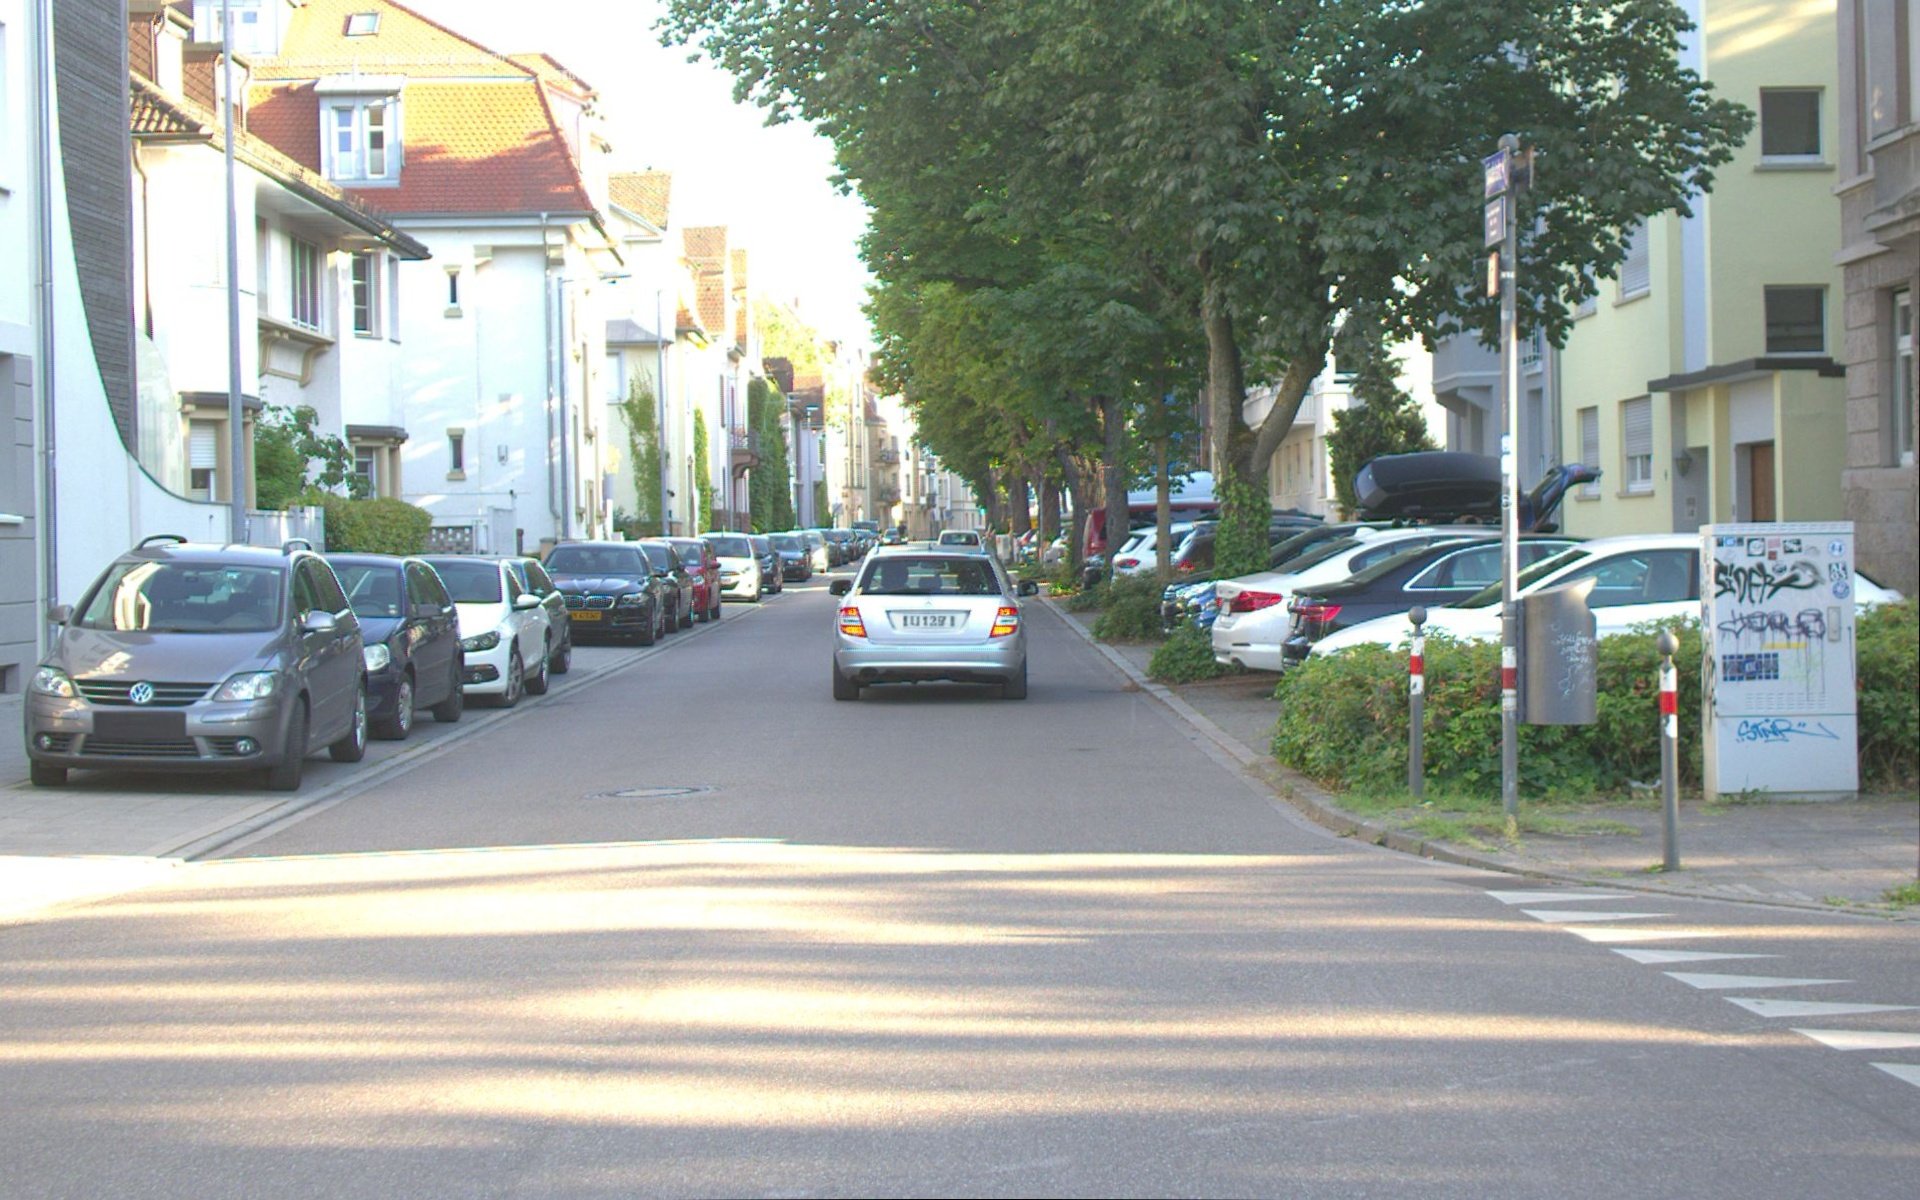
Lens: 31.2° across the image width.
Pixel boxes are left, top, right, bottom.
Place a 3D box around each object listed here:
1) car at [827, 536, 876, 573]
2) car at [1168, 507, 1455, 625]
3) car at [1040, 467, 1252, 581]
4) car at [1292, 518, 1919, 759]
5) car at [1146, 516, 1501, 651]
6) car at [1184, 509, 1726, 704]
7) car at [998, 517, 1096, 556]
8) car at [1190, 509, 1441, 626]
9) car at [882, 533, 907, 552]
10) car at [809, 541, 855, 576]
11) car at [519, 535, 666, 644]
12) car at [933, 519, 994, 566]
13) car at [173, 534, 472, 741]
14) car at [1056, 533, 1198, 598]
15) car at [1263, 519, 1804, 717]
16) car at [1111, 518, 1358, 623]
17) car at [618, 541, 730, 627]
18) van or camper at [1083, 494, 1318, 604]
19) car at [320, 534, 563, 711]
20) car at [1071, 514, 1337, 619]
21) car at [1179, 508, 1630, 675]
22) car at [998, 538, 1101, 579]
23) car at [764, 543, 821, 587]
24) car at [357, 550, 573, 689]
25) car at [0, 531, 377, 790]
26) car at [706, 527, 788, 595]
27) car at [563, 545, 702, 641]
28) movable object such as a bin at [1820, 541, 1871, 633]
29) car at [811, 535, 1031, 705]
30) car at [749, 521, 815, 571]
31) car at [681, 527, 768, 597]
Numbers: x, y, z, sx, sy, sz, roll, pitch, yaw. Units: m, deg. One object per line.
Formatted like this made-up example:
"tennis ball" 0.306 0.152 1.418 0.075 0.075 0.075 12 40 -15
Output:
"car" -4.218 -1.786 134.250 1.799 1.382 3.606 0 1 0
"car" 4.974 -0.498 49.050 3.925 1.553 1.725 -1 2 2
"car" 5.042 -2.081 93.965 5.541 2.958 2.472 -1 1 -2
"car" 4.435 0.238 23.754 4.048 1.500 1.862 -1 1 -1
"car" 4.511 -0.222 43.112 4.190 1.553 1.874 -1 1 -1
"car" 4.431 0.025 31.175 4.476 1.520 1.954 -2 2 -5
"car" 3.476 -2.527 137.081 3.844 1.477 1.805 -1 1 1
"car" 5.327 -0.496 51.832 3.547 1.648 1.725 -1 1 -1
"car" -4.861 -4.291 254.695 1.799 1.382 3.606 0 1 0
"car" -5.336 -1.747 143.948 1.799 1.382 3.606 0 1 0
"car" -5.295 -0.175 50.016 1.854 1.492 4.656 0 1 -3
"car" 0.138 -1.869 113.016 1.817 1.468 4.216 -1 0 3
"car" -5.242 0.259 28.763 1.884 1.585 4.091 -1 1 -2
"car" 4.407 -0.924 91.142 3.594 1.654 1.650 -1 1 -2
"car" 4.692 0.132 28.515 4.142 1.443 1.673 -2 1 -1
"car" 4.318 -0.477 54.451 3.730 1.553 1.725 -1 1 -1
"car" -5.124 -0.297 61.946 1.659 1.483 3.754 0 1 0
"van or camper" 4.474 -0.956 64.345 4.313 2.007 2.000 0 1 3
"car" -4.953 0.174 33.349 1.884 1.585 4.091 -1 1 -2
"car" 4.353 -0.610 61.764 4.625 1.830 1.954 0 1 0
"car" 4.707 -0.107 36.857 4.526 1.635 1.874 -1 1 -1
"car" 3.392 -1.593 130.776 3.844 1.477 1.805 -1 1 1
"car" -5.823 -1.224 120.057 1.799 1.477 3.857 0 1 0
"car" -5.421 0.178 38.117 1.758 1.442 4.142 0 1 0
"car" -5.193 0.346 23.426 1.884 1.585 4.091 -1 1 -2
"car" -5.289 -0.998 85.850 1.799 1.639 3.857 0 1 0
"car" -5.304 -0.133 56.170 1.783 1.492 4.700 0 1 0
"movable object such as a bin" 10.436 -0.150 40.536 0.456 1.082 0.532 0 0 1
"car" -0.302 0.167 32.343 1.817 1.468 4.216 -1 0 3
"car" -5.369 -1.652 104.134 1.799 1.477 3.857 0 1 0
"car" -5.210 -0.849 76.423 1.659 1.494 3.754 0 1 0
